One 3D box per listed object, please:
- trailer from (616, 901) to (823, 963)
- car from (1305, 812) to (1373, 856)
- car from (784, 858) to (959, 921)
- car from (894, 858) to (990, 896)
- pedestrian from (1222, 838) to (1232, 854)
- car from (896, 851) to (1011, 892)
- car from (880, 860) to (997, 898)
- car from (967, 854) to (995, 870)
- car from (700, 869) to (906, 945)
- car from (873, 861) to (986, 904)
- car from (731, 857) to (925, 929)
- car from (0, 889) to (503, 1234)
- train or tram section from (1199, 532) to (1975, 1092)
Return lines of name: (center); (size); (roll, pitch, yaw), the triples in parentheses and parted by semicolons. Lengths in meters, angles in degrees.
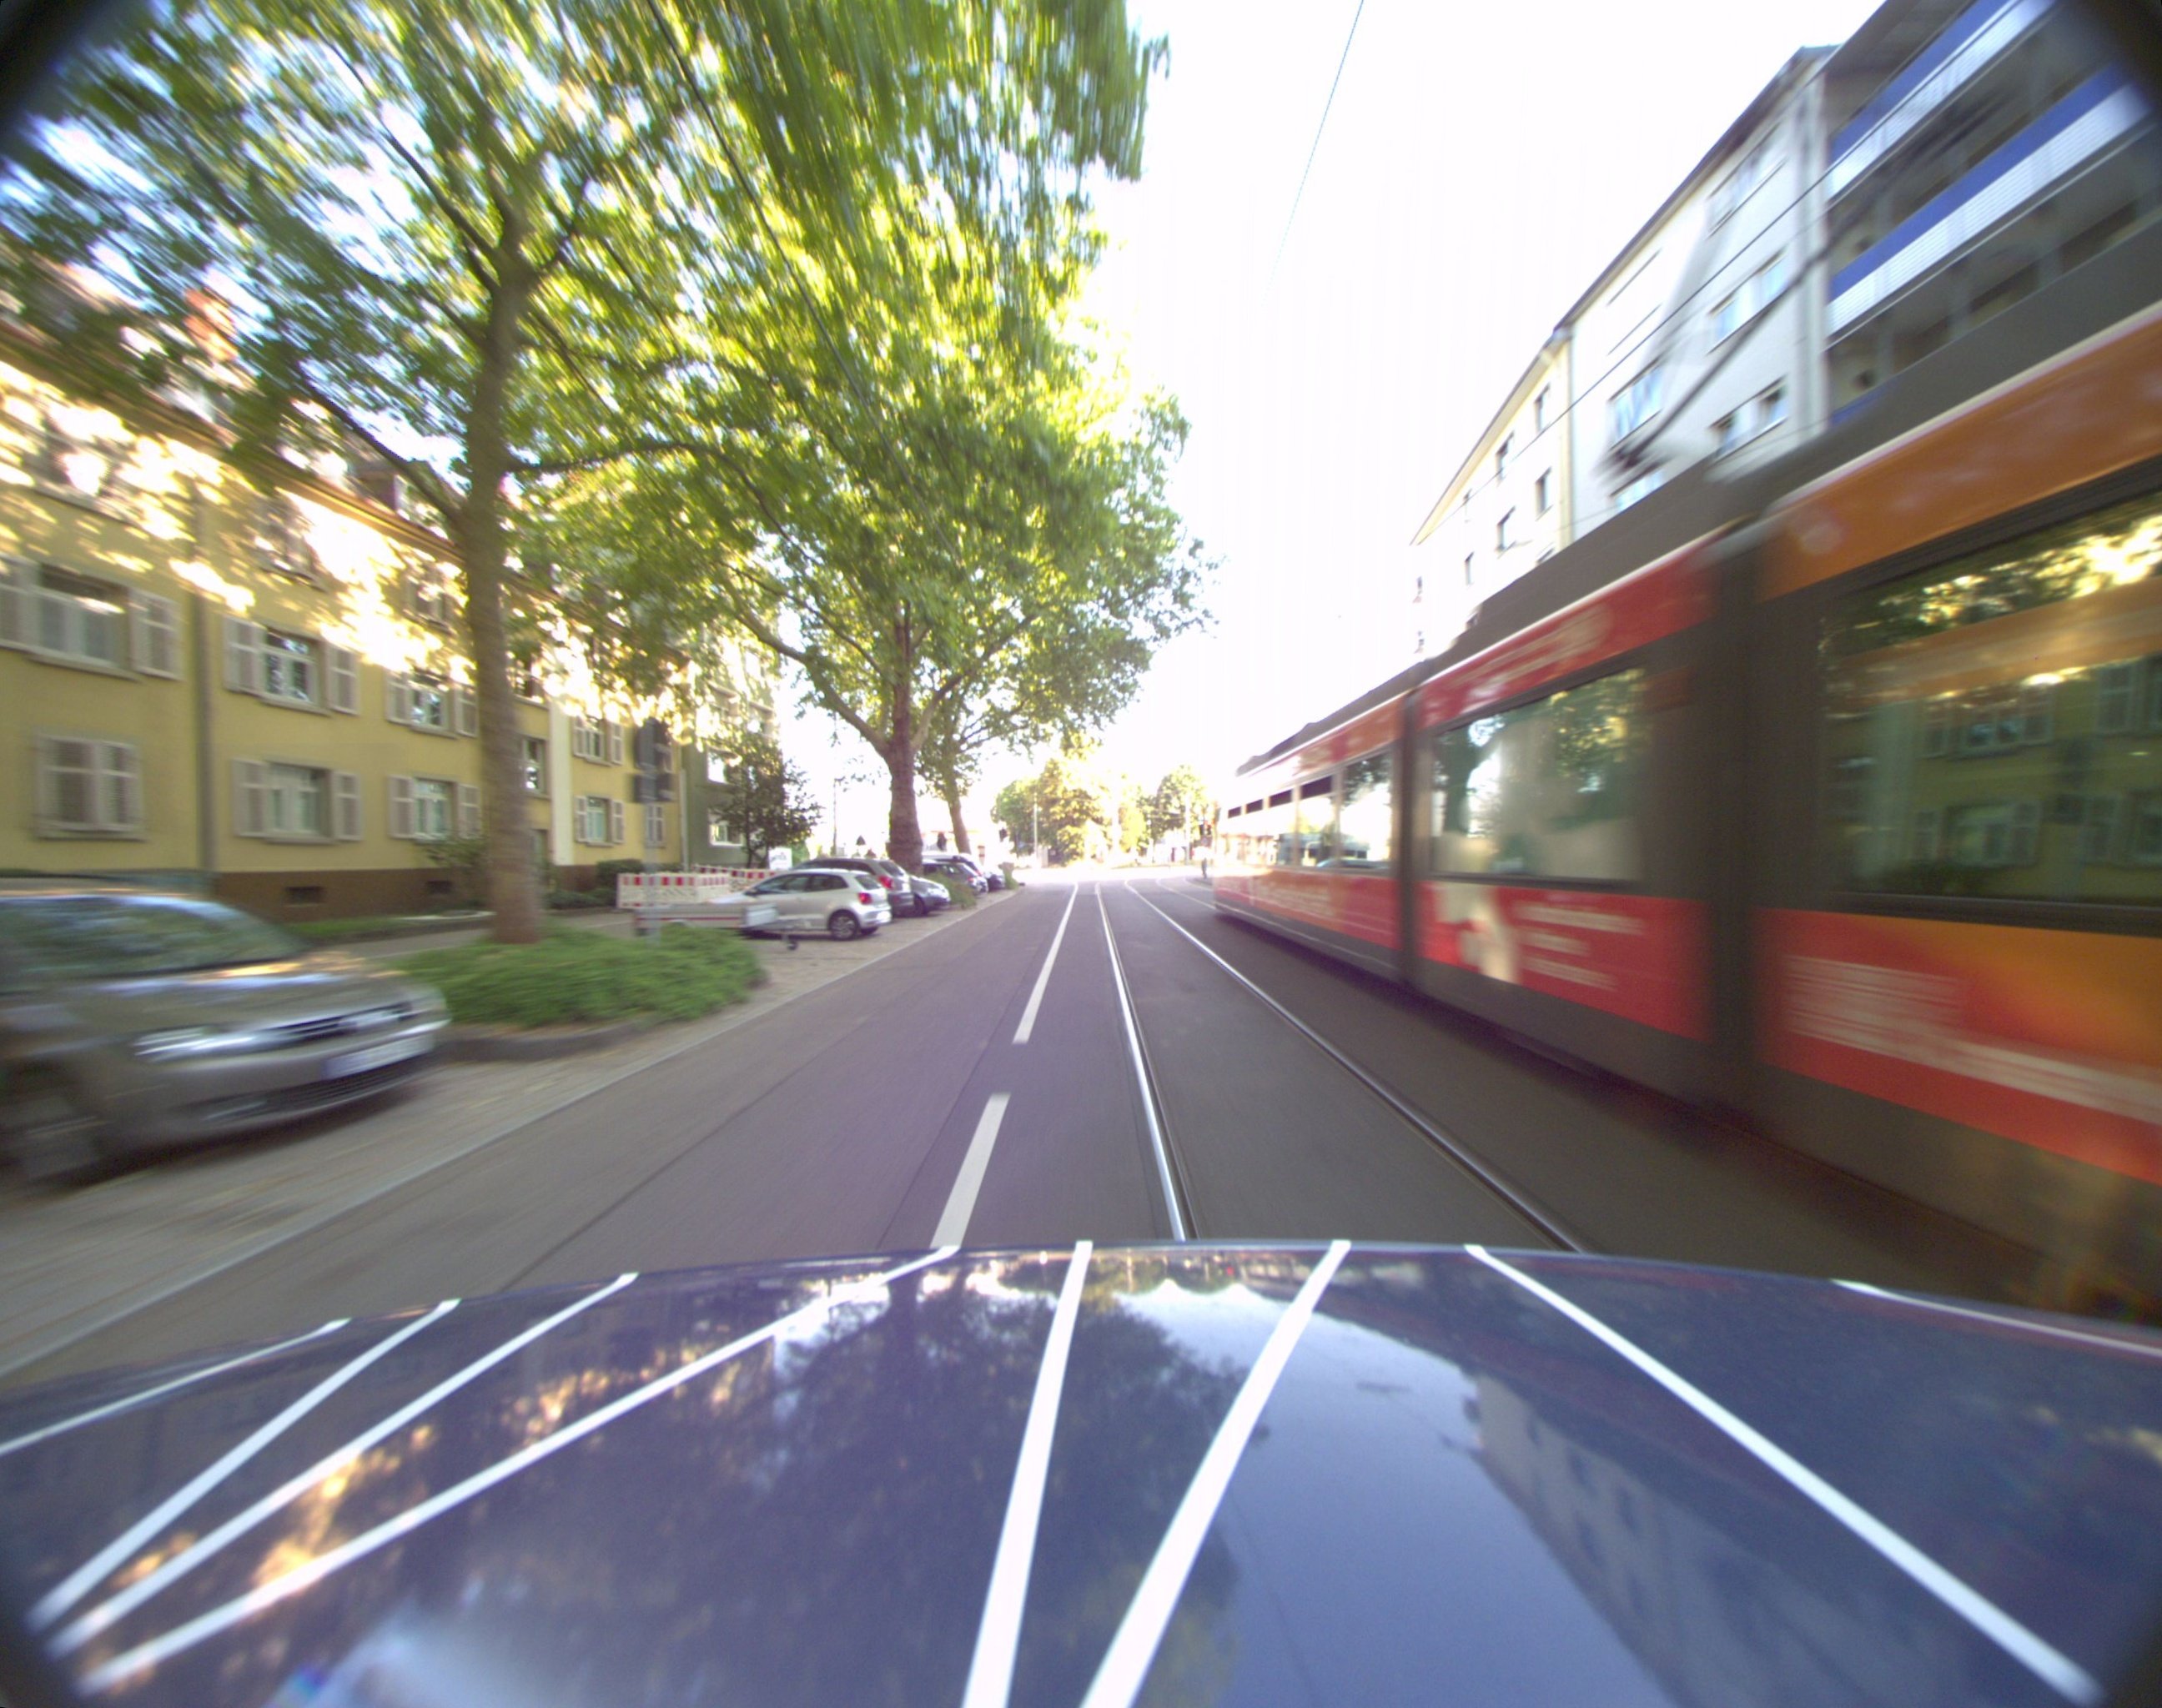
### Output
trailer: (-6.400, 1.366, 13.608); (3.046, 0.898, 1.437); (0, 1, 7)
car: (11.385, -0.852, 33.830); (1.997, 1.821, 4.226); (0, 1, 6)
car: (-5.867, 0.971, 21.696); (4.436, 1.648, 1.908); (0, 1, -1)
car: (-6.079, 0.980, 33.550); (3.884, 1.596, 1.795); (0, 0, 0)
pedestrian: (17.747, -0.974, 92.408); (0.913, 2.002, 0.860); (-2, 1, -4)
car: (-5.985, 0.816, 36.121); (5.126, 1.845, 1.914); (0, 1, 0)
car: (-5.740, 1.001, 31.029); (4.410, 1.514, 1.818); (0, 0, 1)
car: (-10.911, 0.904, 82.755); (1.644, 1.428, 3.564); (-4, -1, -32)
car: (-5.809, 1.081, 16.176); (3.660, 1.416, 1.866); (1, 0, 2)
car: (-5.564, 1.023, 28.252); (3.891, 1.488, 1.741); (0, 0, -2)
car: (-6.362, 0.945, 19.375); (4.318, 1.721, 1.841); (0, 0, 5)
car: (-6.210, 1.043, 4.534); (4.087, 1.541, 1.830); (0, 1, 0)
train or tram section: (4.251, -0.309, 11.483); (2.916, 3.466, 13.368); (-1, 1, 1)
